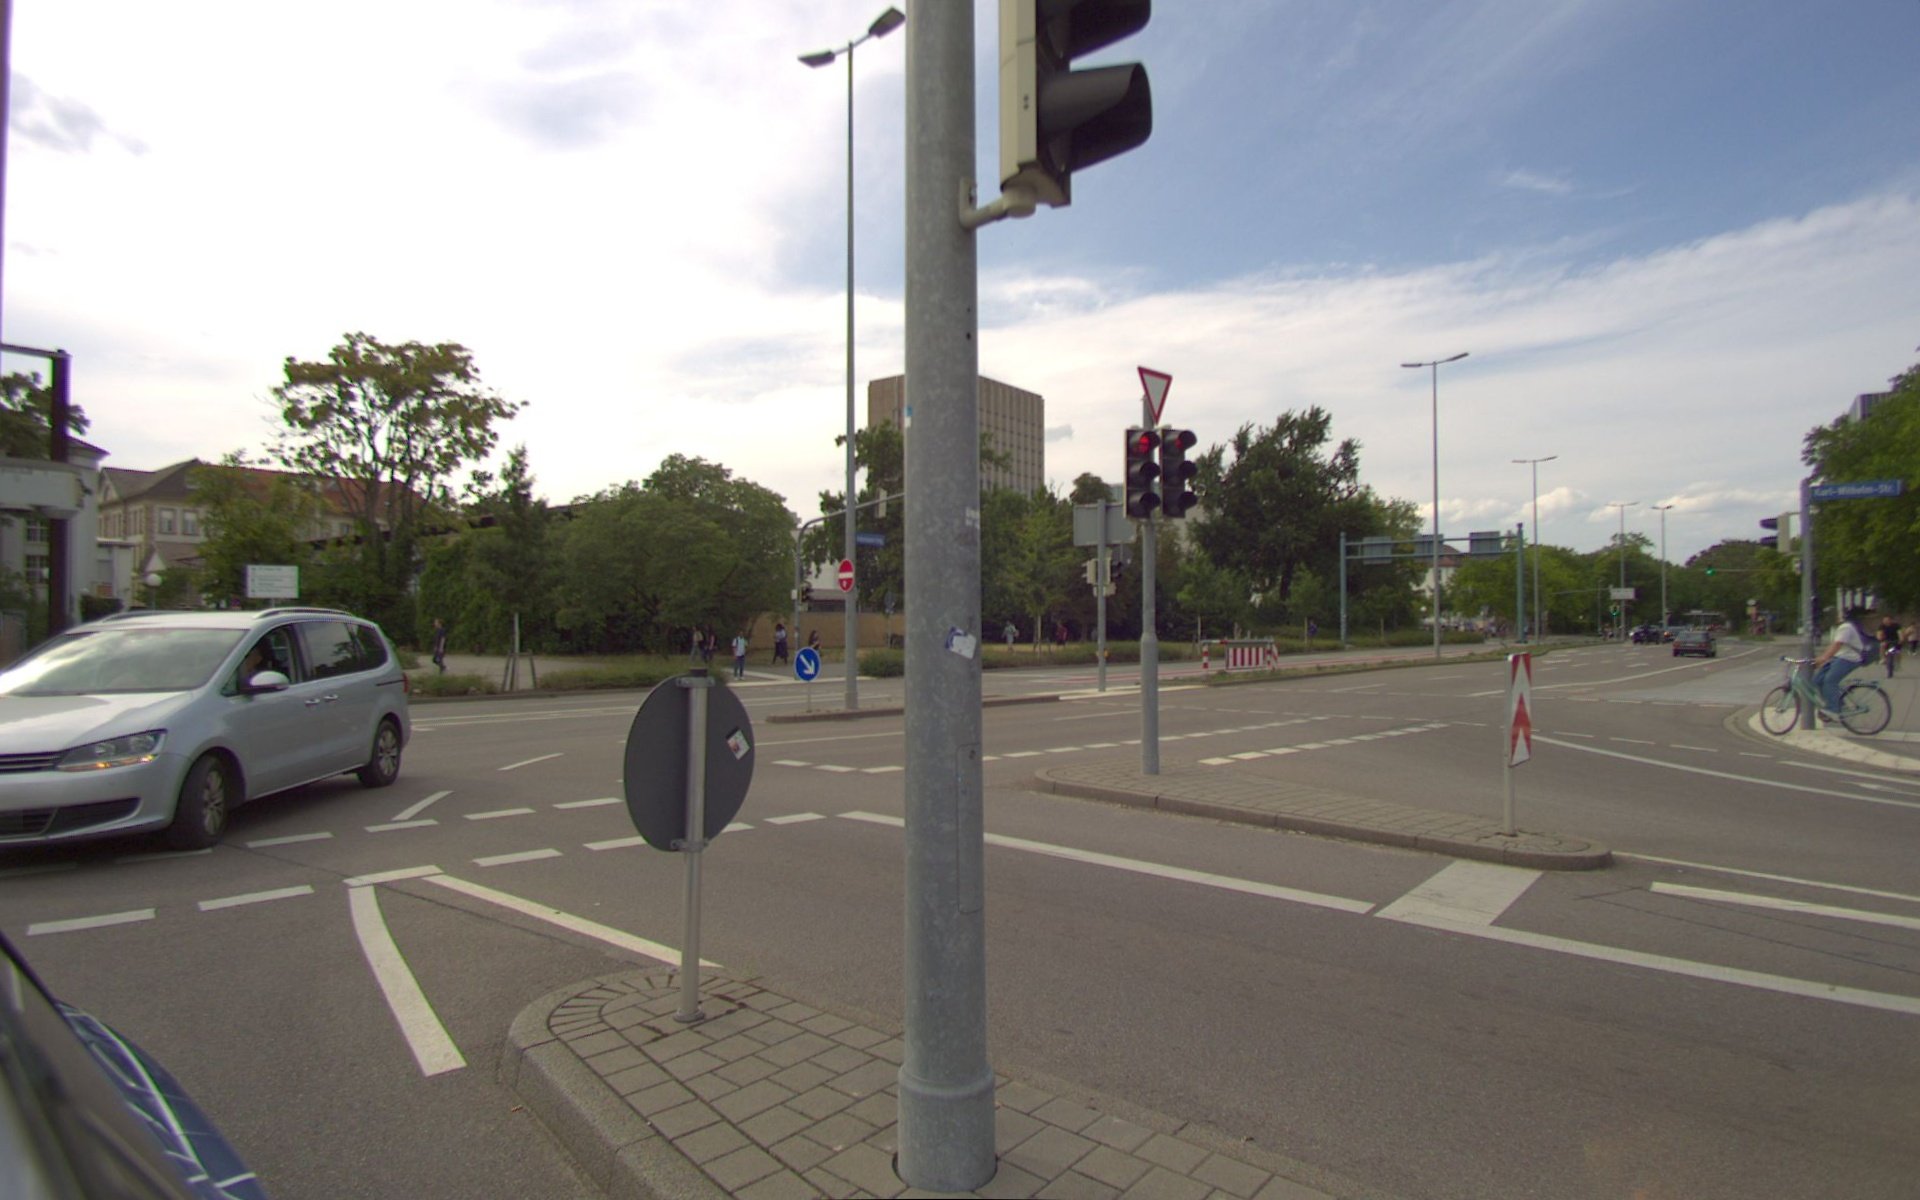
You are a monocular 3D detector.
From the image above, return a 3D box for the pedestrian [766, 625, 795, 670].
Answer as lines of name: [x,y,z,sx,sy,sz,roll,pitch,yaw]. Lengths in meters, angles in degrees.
pedestrian: [-6.965,1.853,39.298,0.714,1.724,0.789,-4,-3,38]

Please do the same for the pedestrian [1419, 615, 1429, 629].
pedestrian: [55.679,2.646,121.458,0.769,1.724,0.685,-4,-4,42]

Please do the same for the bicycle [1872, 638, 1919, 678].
bicycle: [24.845,1.532,26.853,1.939,0.943,0.507,-2,-1,-35]

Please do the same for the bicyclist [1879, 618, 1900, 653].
bicyclist: [42.875,1.627,46.662,0.785,1.567,0.496,-2,-1,-34]

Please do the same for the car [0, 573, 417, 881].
car: [-6.166,0.849,8.013,1.796,1.747,4.535,-2,-3,-8]

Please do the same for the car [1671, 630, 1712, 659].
car: [40.787,2.462,56.436,1.697,1.491,4.361,-4,-3,36]

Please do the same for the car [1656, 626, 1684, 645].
car: [62.064,3.113,88.404,1.788,1.500,4.077,1,0,38]

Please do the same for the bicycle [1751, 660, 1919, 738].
bicycle: [11.902,1.331,13.760,1.942,0.943,0.506,-2,-1,-4]

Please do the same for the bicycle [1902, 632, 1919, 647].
bicycle: [61.609,2.566,65.602,0.431,0.894,1.559,-5,-4,30]

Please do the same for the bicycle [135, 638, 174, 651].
bicycle: [-48.194,2.662,60.577,1.816,0.699,0.668,0,-3,-40]

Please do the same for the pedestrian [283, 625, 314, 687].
pedestrian: [-18.949,1.603,29.003,0.624,1.724,0.673,1,-4,-45]

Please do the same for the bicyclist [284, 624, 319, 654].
bicyclist: [-28.746,1.709,44.199,1.000,1.287,0.838,-2,-3,6]

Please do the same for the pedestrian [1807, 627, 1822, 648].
pedestrian: [67.293,2.975,79.692,0.753,1.634,0.657,-4,-3,36]

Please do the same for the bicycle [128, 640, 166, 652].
bicycle: [-50.393,2.849,62.723,1.816,0.699,0.653,0,-3,-40]

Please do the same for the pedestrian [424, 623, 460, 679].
pedestrian: [-16.428,1.610,32.075,0.788,1.724,0.840,1,-4,-45]

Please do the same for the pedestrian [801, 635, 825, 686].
pedestrian: [-5.024,2.054,34.599,0.579,1.724,0.481,1,-4,-43]

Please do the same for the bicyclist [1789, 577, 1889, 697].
bicyclist: [11.943,0.494,13.765,0.786,1.567,0.580,-2,-1,-4]

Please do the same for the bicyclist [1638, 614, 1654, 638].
bicyclist: [52.438,1.989,77.355,0.778,1.724,1.070,1,-2,45]

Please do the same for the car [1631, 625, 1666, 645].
car: [55.275,2.772,81.208,1.789,1.500,4.073,1,0,41]

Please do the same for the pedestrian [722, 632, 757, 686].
pedestrian: [-7.278,1.937,33.404,0.827,1.724,0.800,1,-4,-43]

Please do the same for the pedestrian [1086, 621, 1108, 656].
pedestrian: [6.883,1.946,50.827,0.683,1.724,0.735,1,-4,-45]

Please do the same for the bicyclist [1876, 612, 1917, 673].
bicyclist: [24.861,1.131,26.859,0.785,1.567,0.581,-2,-1,-34]

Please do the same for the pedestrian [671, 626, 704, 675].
pedestrian: [-9.950,1.840,37.010,0.835,1.724,0.792,-3,-3,27]

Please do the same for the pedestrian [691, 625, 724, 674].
pedestrian: [-9.139,1.785,36.630,0.835,1.724,0.792,-3,-3,27]

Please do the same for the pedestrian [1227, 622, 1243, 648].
pedestrian: [18.344,2.314,67.521,0.714,1.724,0.685,-4,-4,42]

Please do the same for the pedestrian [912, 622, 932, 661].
pedestrian: [-1.682,1.839,45.064,0.544,1.709,0.686,0,-1,38]

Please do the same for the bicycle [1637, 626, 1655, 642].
bicycle: [52.449,2.602,77.368,0.759,1.198,2.068,1,-2,44]

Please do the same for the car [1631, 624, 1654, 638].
car: [81.354,3.663,120.560,1.789,1.500,4.073,1,0,41]

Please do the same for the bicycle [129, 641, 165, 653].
bicycle: [-52.625,3.046,65.488,1.816,0.699,0.653,0,-3,-40]

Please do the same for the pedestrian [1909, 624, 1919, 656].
pedestrian: [49.189,2.039,51.796,0.753,1.634,0.657,-4,-3,36]

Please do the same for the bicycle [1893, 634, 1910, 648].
bicycle: [62.551,2.698,67.220,0.431,0.894,1.559,-5,-4,30]

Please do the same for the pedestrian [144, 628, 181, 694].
pedestrian: [-21.423,1.636,27.192,0.698,1.724,0.640,1,-4,-45]

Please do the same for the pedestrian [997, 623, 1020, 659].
pedestrian: [2.386,2.029,49.620,0.841,1.724,0.686,-4,-3,38]

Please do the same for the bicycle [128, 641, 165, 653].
bicycle: [-51.479,2.943,64.029,1.816,0.699,0.653,0,-3,-40]

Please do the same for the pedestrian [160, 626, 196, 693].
pedestrian: [-20.762,1.579,26.870,0.698,1.724,0.640,1,-4,-45]

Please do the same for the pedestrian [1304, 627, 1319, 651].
pedestrian: [26.187,2.891,75.387,0.714,1.724,0.685,-4,-4,42]

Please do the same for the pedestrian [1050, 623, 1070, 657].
pedestrian: [5.177,2.089,52.337,0.714,1.724,0.685,-4,-4,42]

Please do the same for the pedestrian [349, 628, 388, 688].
pedestrian: [-17.221,1.683,29.472,0.788,1.724,0.840,1,-4,-45]

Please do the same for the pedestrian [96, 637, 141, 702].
pedestrian: [-21.171,1.735,25.470,0.788,1.554,0.840,1,0,-45]

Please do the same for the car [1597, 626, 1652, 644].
car: [63.100,3.307,96.185,1.759,1.500,4.143,1,0,-18]

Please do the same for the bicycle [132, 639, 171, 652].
bicycle: [-49.311,2.768,61.726,1.816,0.699,0.653,0,-3,-40]
